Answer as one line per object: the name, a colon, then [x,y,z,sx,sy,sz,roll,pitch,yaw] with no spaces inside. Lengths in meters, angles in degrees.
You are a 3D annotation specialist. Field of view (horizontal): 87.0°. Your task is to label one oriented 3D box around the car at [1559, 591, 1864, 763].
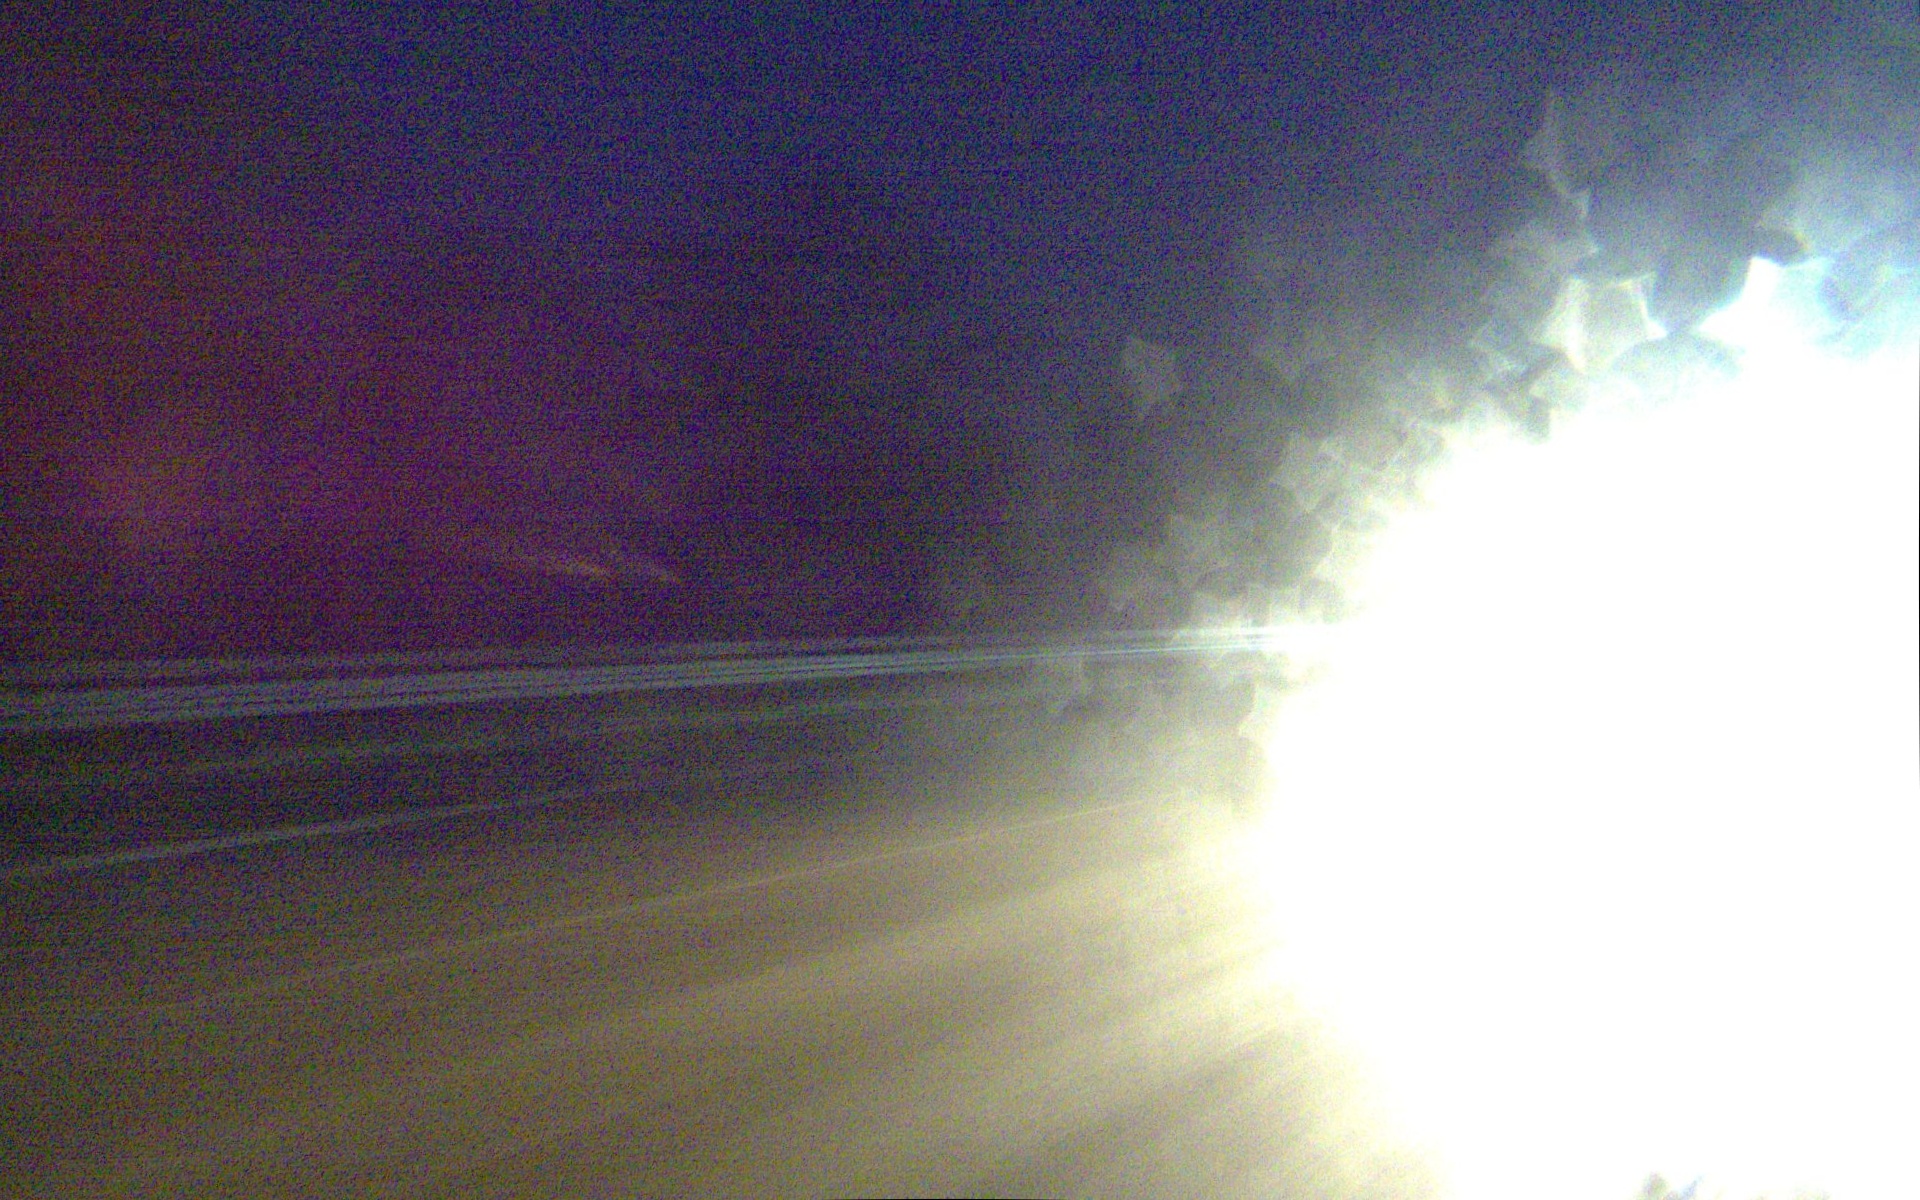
car: [8.105,0.669,10.777,4.121,1.476,1.773,0,0,-41]
